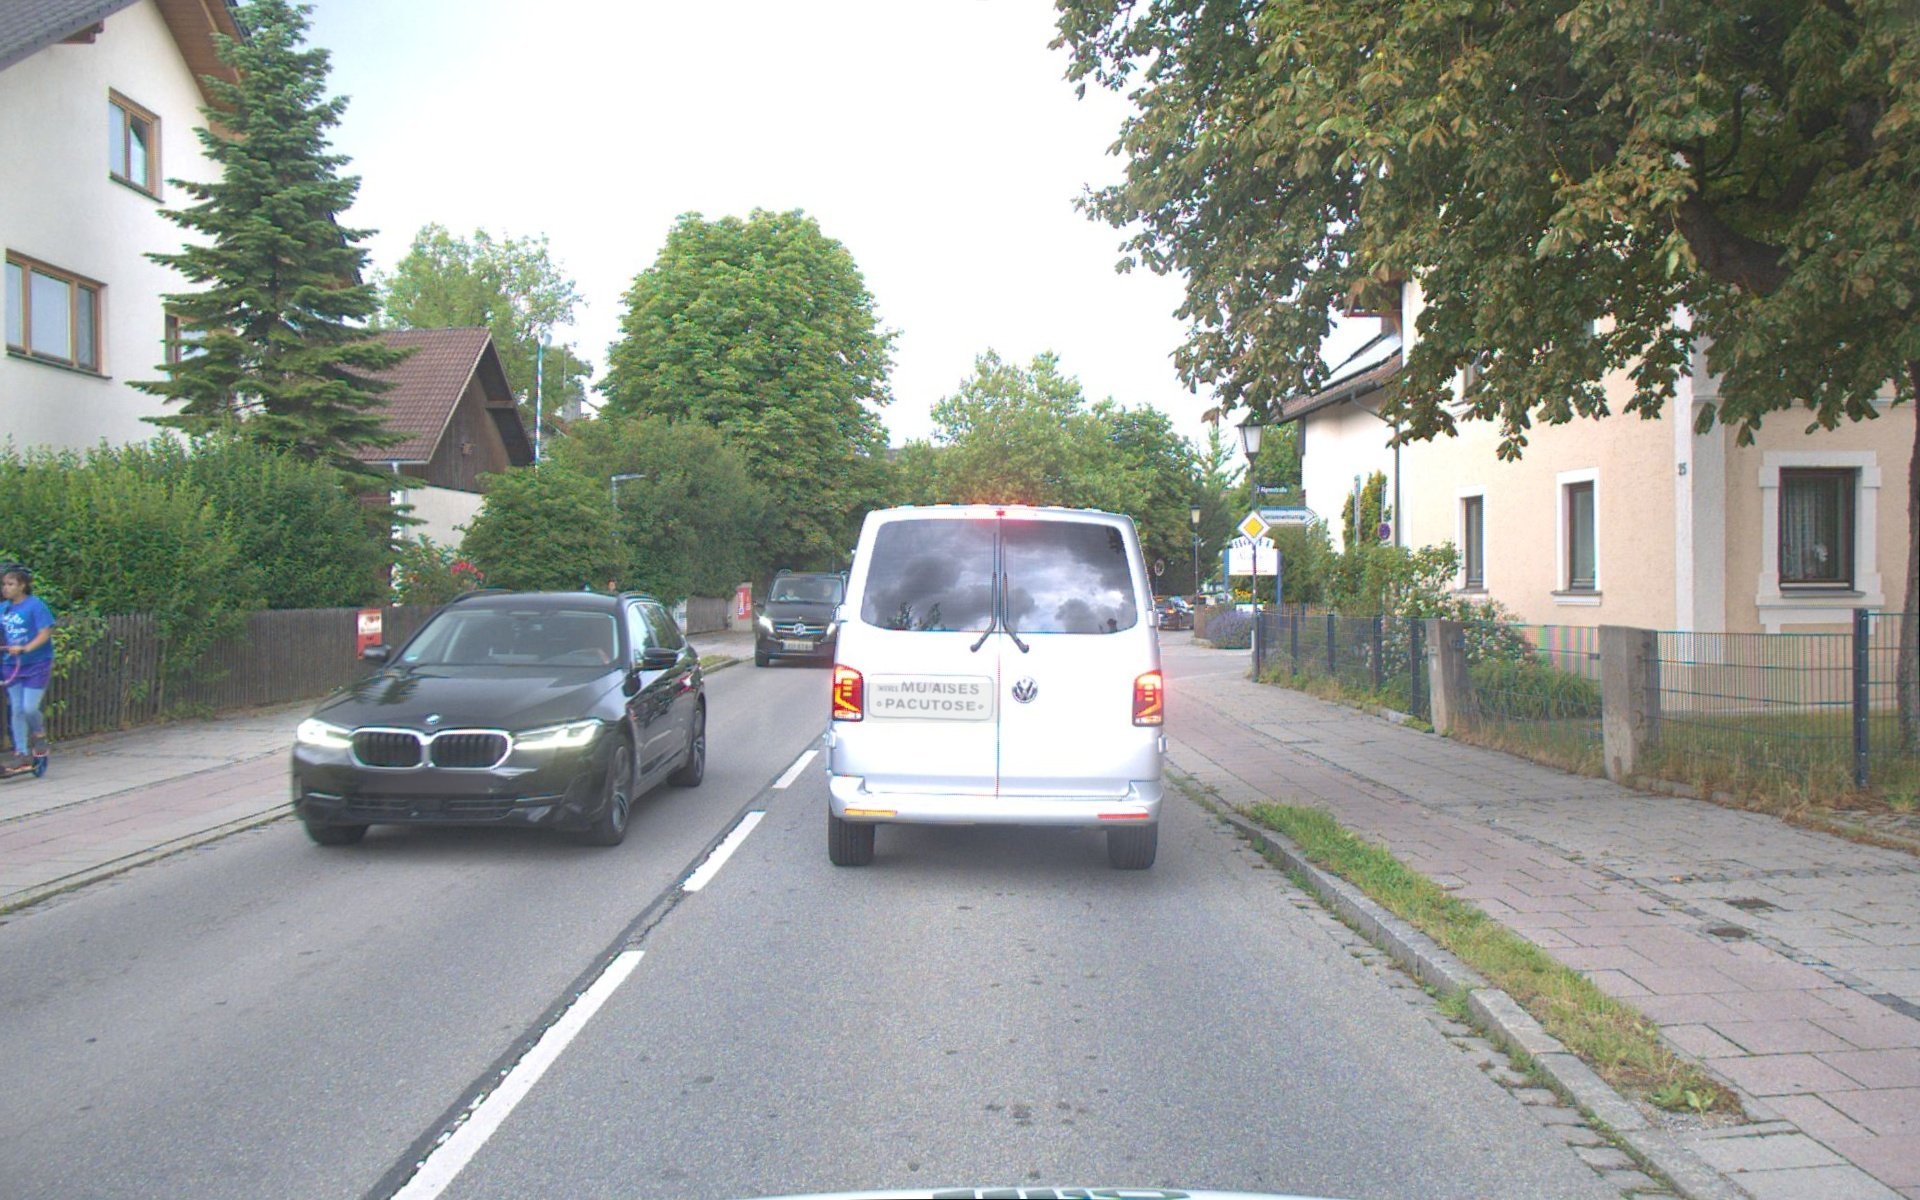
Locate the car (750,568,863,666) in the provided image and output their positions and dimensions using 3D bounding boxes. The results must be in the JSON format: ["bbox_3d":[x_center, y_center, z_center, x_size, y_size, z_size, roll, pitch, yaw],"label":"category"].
[{"bbox_3d":[-3.118,0.323,34.571,1.924,1.885,4.947,1,0,-1],"label":"car"}]

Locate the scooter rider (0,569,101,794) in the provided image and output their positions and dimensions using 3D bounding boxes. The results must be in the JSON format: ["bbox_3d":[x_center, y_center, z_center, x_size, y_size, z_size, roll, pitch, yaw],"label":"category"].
[{"bbox_3d":[-6.775,0.565,11.948,0.679,1.551,0.800,2,0,-2],"label":"scooter rider"}]

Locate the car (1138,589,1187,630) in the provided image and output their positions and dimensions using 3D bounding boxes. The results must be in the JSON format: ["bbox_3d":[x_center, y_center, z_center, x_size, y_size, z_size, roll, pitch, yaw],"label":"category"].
[{"bbox_3d":[9.126,0.402,74.446,1.841,1.779,4.084,0,0,12],"label":"car"}]

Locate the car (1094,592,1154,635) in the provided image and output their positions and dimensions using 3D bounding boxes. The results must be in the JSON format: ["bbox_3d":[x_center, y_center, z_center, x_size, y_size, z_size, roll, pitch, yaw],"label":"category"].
[{"bbox_3d":[6.128,0.468,61.517,1.841,1.562,3.924,0,0,11],"label":"car"}]

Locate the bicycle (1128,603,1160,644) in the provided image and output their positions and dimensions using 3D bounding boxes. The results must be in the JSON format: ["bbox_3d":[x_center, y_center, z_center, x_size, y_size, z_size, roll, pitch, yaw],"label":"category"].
[{"bbox_3d":[5.281,0.667,47.493,0.749,1.163,1.845,0,0,1],"label":"bicycle"}]

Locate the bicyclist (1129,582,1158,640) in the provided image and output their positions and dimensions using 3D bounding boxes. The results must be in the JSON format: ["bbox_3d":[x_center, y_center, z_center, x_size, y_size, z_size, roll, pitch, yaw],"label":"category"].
[{"bbox_3d":[5.271,0.306,47.485,0.721,1.661,0.890,0,0,1],"label":"bicyclist"}]

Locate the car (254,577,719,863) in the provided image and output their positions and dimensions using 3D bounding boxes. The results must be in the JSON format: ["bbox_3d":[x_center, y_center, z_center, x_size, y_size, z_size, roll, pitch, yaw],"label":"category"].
[{"bbox_3d":[-2.841,0.632,11.052,1.809,1.479,4.548,1,0,-1],"label":"car"}]

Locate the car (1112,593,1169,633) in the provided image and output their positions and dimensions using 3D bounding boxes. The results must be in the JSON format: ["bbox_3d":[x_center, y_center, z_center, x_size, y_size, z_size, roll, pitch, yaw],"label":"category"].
[{"bbox_3d":[7.406,0.513,67.519,1.841,1.562,3.924,0,0,13],"label":"car"}]

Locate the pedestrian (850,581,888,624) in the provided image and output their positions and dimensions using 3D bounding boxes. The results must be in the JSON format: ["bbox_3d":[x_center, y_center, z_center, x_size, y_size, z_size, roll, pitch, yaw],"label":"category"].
[{"bbox_3d":[-3.947,0.118,71.740,1.306,1.834,1.058,0,0,-32],"label":"pedestrian"}]

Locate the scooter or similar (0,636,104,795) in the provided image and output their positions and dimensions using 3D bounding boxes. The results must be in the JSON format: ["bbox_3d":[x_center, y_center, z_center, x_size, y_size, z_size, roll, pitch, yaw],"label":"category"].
[{"bbox_3d":[-6.762,0.800,11.872,0.648,1.055,1.178,0,0,-2],"label":"scooter or similar"}]

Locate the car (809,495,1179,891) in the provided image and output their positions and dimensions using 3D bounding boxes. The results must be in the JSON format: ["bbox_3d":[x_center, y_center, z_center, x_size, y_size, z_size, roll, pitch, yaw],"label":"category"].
[{"bbox_3d":[0.179,0.454,10.206,1.842,1.974,3.921,0,0,0],"label":"car"}]

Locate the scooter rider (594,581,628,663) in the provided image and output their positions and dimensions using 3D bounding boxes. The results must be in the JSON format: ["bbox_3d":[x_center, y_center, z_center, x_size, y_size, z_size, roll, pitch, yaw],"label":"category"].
[{"bbox_3d":[-6.552,0.413,31.073,0.492,1.515,0.716,0,0,-1],"label":"scooter rider"}]
